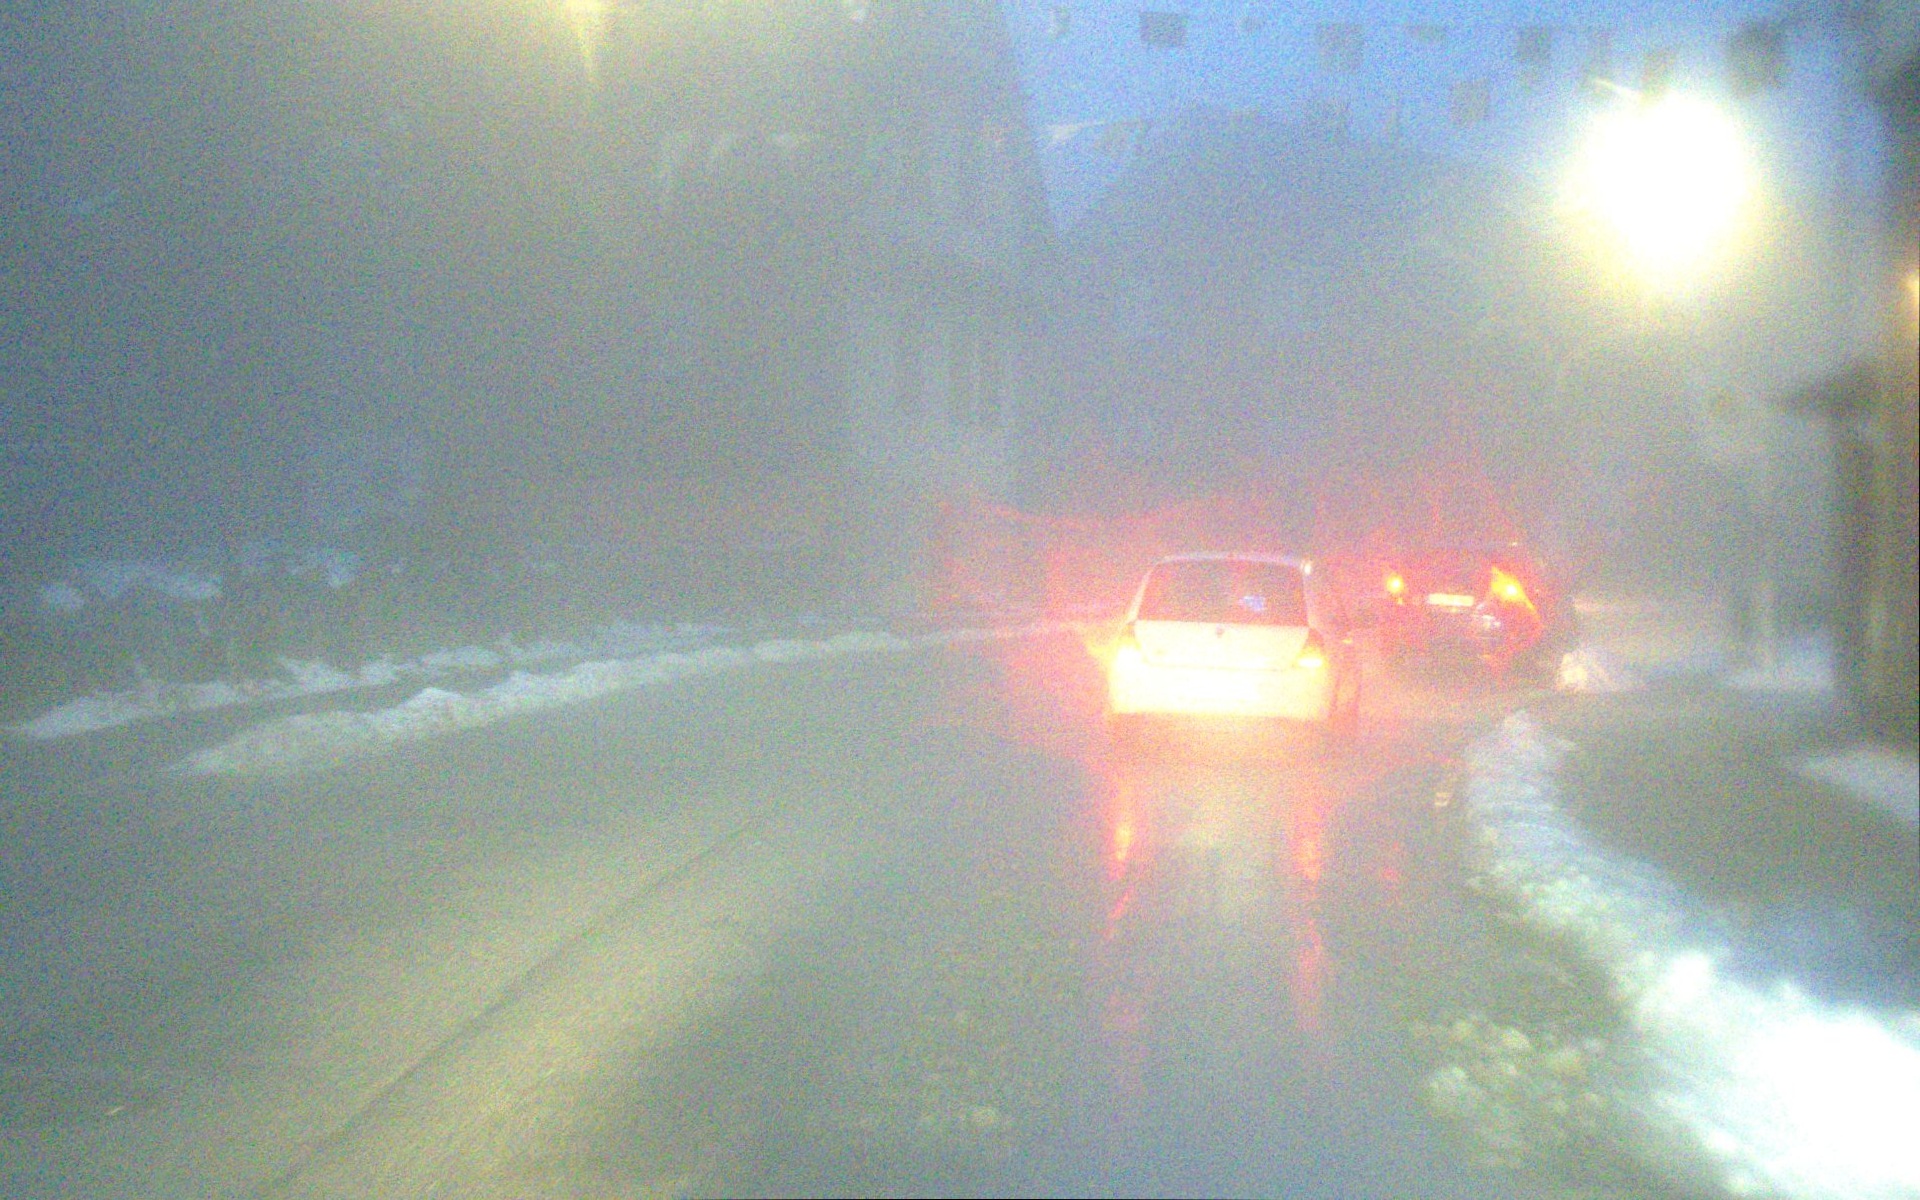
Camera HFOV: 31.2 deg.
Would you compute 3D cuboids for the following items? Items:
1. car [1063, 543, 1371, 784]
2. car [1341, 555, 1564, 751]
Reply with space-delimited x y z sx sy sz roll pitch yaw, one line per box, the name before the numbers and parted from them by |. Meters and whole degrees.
car | 1.898 0.487 25.398 1.994 1.503 3.999 4 -1 4
car | 5.689 0.645 39.306 1.995 2.007 3.997 4 -1 14
